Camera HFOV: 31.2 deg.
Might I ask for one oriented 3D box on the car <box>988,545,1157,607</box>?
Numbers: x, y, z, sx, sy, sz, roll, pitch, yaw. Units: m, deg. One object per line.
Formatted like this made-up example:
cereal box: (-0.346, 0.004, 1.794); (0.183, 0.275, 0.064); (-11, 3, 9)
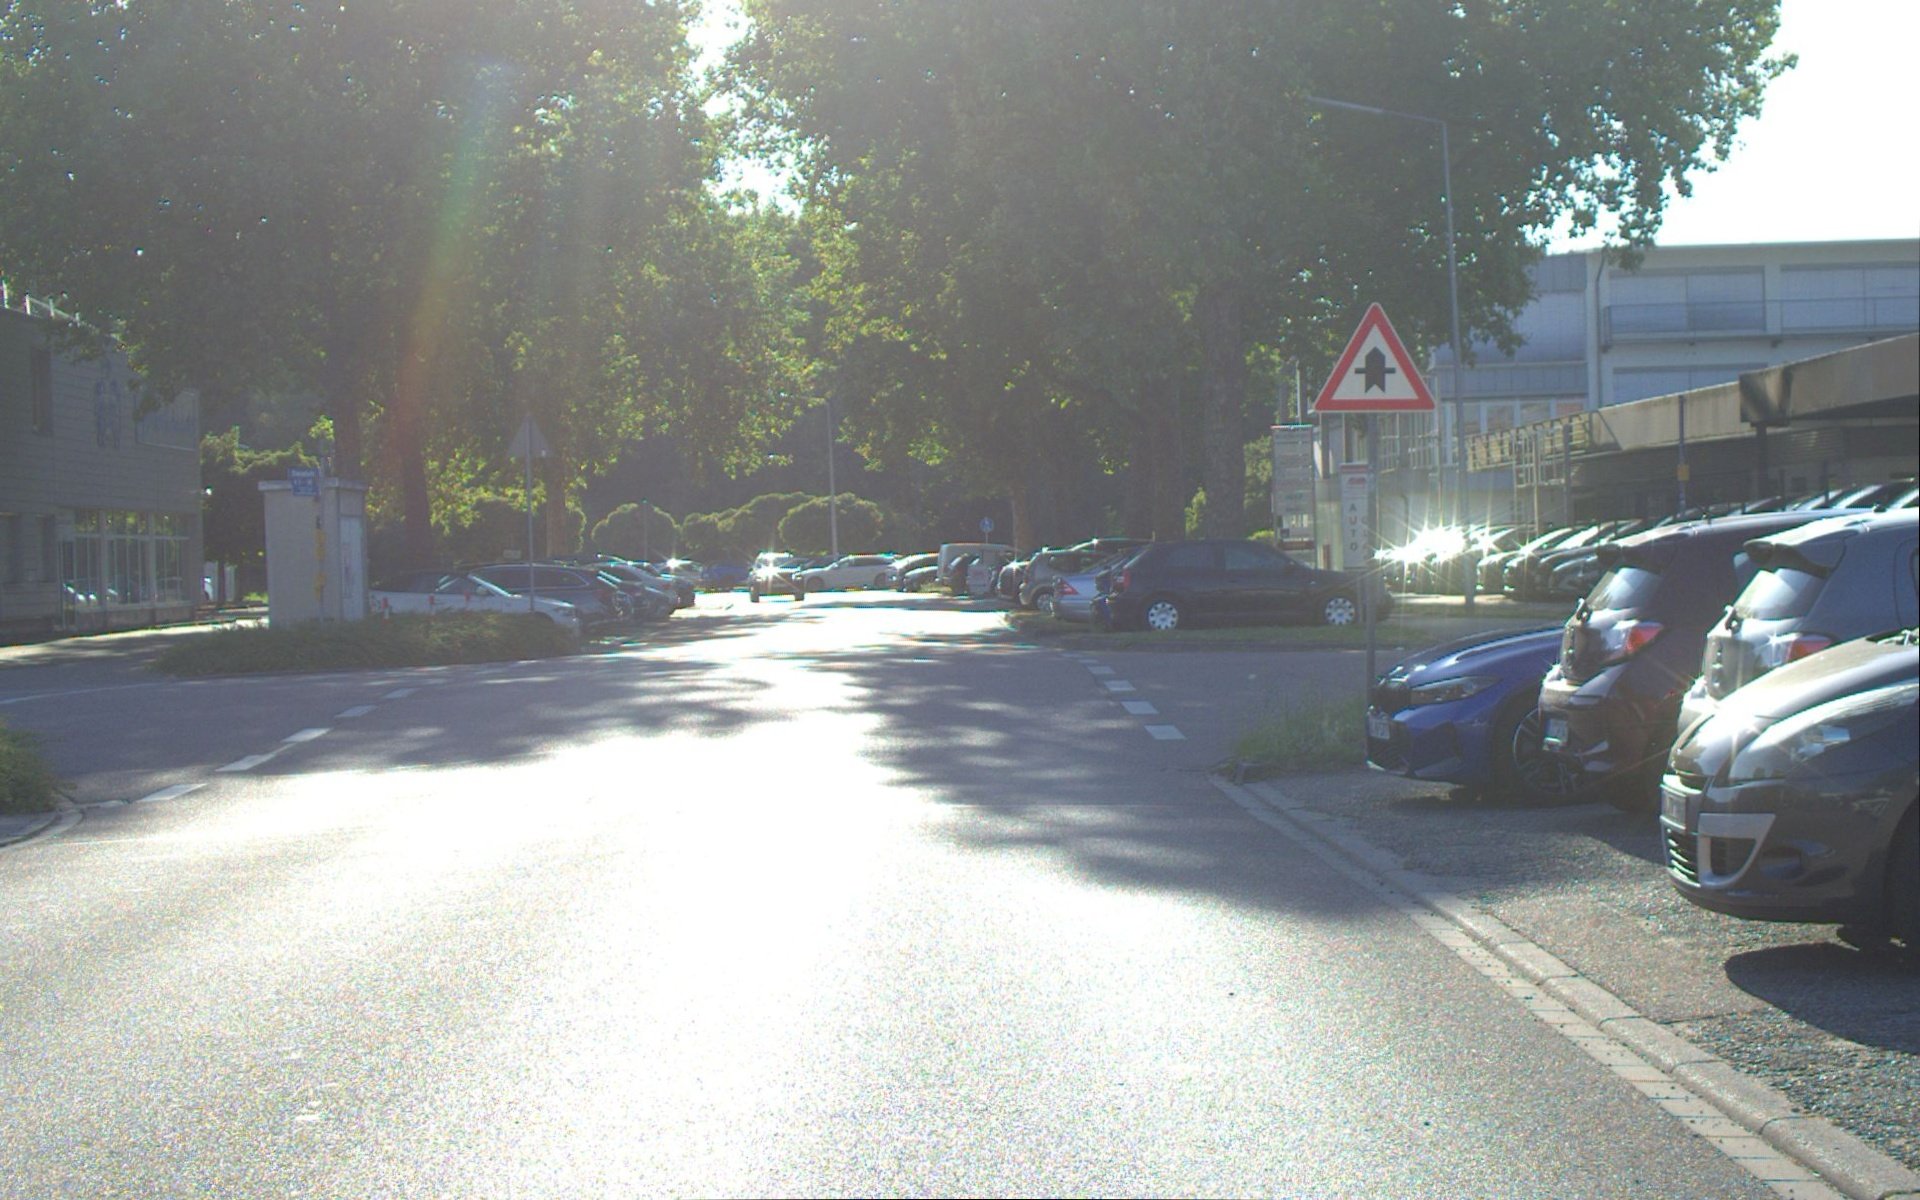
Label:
car: (2.727, -0.589, 84.058); (3.987, 1.376, 1.827); (-2, 0, -1)

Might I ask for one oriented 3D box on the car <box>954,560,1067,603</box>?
car: (1.817, -0.688, 124.896); (3.987, 1.411, 1.827); (-2, 0, -1)

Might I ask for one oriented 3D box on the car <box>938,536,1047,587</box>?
car: (1.199, -1.448, 128.756); (3.987, 1.771, 1.827); (-2, 0, -1)

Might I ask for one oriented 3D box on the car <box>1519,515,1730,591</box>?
car: (13.853, -0.975, 71.840); (3.986, 1.541, 2.000); (0, 0, -2)

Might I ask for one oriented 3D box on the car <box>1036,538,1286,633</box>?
car: (3.316, -0.250, 57.202); (3.987, 1.411, 1.827); (-2, 0, -1)

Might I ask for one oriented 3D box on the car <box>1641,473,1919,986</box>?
car: (4.486, 0.324, 11.799); (3.988, 1.608, 2.000); (-3, 0, 7)

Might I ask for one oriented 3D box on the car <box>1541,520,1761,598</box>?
car: (13.917, -0.819, 69.405); (3.986, 1.541, 2.000); (0, 0, -2)

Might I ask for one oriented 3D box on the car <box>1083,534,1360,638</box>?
car: (3.924, -0.223, 52.154); (3.987, 1.411, 2.000); (-2, 0, -1)

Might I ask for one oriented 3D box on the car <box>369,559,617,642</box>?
car: (-8.718, -0.007, 64.452); (4.415, 1.511, 2.000); (0, 0, -2)

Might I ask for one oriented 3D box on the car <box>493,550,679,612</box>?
car: (-9.308, -0.483, 85.784); (4.415, 1.511, 2.000); (0, 0, 1)

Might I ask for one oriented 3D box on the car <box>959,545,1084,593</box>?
car: (1.988, -1.022, 112.670); (3.987, 1.411, 1.827); (-2, 0, -1)

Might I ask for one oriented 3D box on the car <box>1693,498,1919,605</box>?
car: (14.080, -0.779, 55.564); (3.986, 1.694, 2.000); (0, 0, -2)

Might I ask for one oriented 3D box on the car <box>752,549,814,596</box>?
car: (-6.092, -0.950, 118.873); (1.993, 1.603, 4.000); (1, 0, -1)

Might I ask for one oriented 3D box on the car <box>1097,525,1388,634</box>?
car: (4.048, -0.295, 49.821); (3.987, 1.411, 2.000); (-2, 0, -1)

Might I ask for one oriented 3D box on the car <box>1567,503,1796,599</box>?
car: (14.003, -0.940, 66.851); (3.986, 1.826, 2.000); (0, 0, -2)

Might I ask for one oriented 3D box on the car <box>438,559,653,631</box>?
car: (-8.973, -0.118, 74.732); (4.415, 1.511, 2.000); (0, 0, 1)

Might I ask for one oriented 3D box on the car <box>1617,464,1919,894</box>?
car: (5.018, 0.176, 14.612); (3.987, 1.646, 1.801); (-5, 0, 0)

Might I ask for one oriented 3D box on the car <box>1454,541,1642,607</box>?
car: (13.700, -0.599, 80.218); (3.986, 1.499, 2.000); (0, 0, -2)

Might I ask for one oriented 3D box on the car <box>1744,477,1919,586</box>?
car: (14.289, -1.047, 52.833); (3.986, 1.629, 2.000); (0, 0, -2)

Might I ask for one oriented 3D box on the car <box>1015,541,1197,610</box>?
car: (3.282, -0.558, 78.083); (3.987, 1.411, 1.827); (-2, 0, -1)

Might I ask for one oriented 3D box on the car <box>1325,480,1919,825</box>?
car: (4.504, 0.219, 19.429); (4.523, 1.667, 1.754); (-4, 1, -4)

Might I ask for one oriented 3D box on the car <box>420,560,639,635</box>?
car: (-8.927, -0.063, 71.597); (4.415, 1.511, 2.000); (0, 0, -4)

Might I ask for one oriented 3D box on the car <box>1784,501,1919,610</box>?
car: (14.342, -0.660, 50.447); (3.986, 1.563, 2.000); (0, 0, -2)

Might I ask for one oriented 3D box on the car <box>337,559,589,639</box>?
car: (-8.921, -0.025, 62.000); (4.414, 1.398, 2.000); (0, 0, -6)

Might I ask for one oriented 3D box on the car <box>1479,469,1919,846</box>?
car: (4.782, 0.177, 17.053); (3.986, 1.646, 1.743); (-4, 1, -3)
